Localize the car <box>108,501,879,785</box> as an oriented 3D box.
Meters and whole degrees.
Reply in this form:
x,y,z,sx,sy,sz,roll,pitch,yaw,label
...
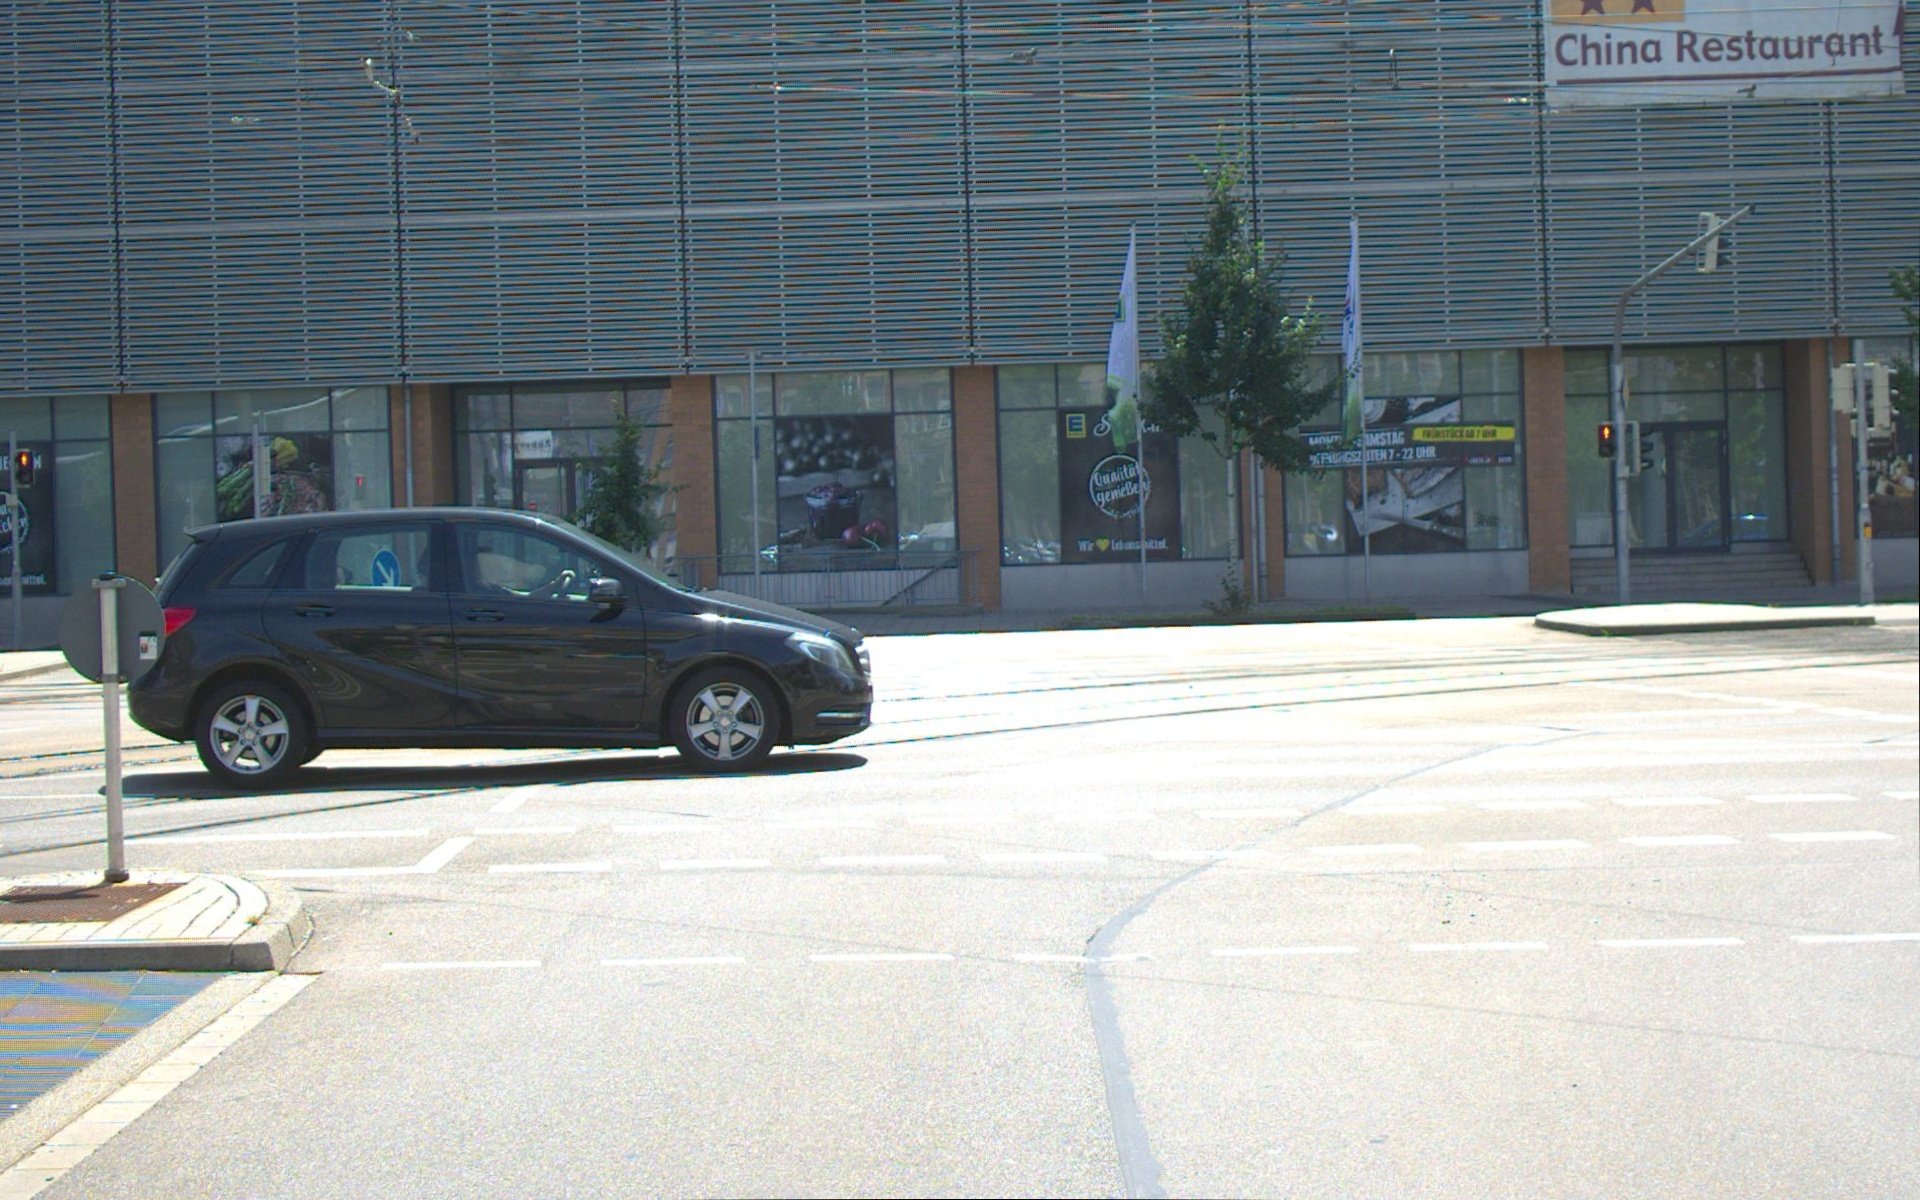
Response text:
x,y,z,sx,sy,sz,roll,pitch,yaw,label
-2.684,0.210,20.458,4.319,1.548,2.000,-1,2,-3,car
